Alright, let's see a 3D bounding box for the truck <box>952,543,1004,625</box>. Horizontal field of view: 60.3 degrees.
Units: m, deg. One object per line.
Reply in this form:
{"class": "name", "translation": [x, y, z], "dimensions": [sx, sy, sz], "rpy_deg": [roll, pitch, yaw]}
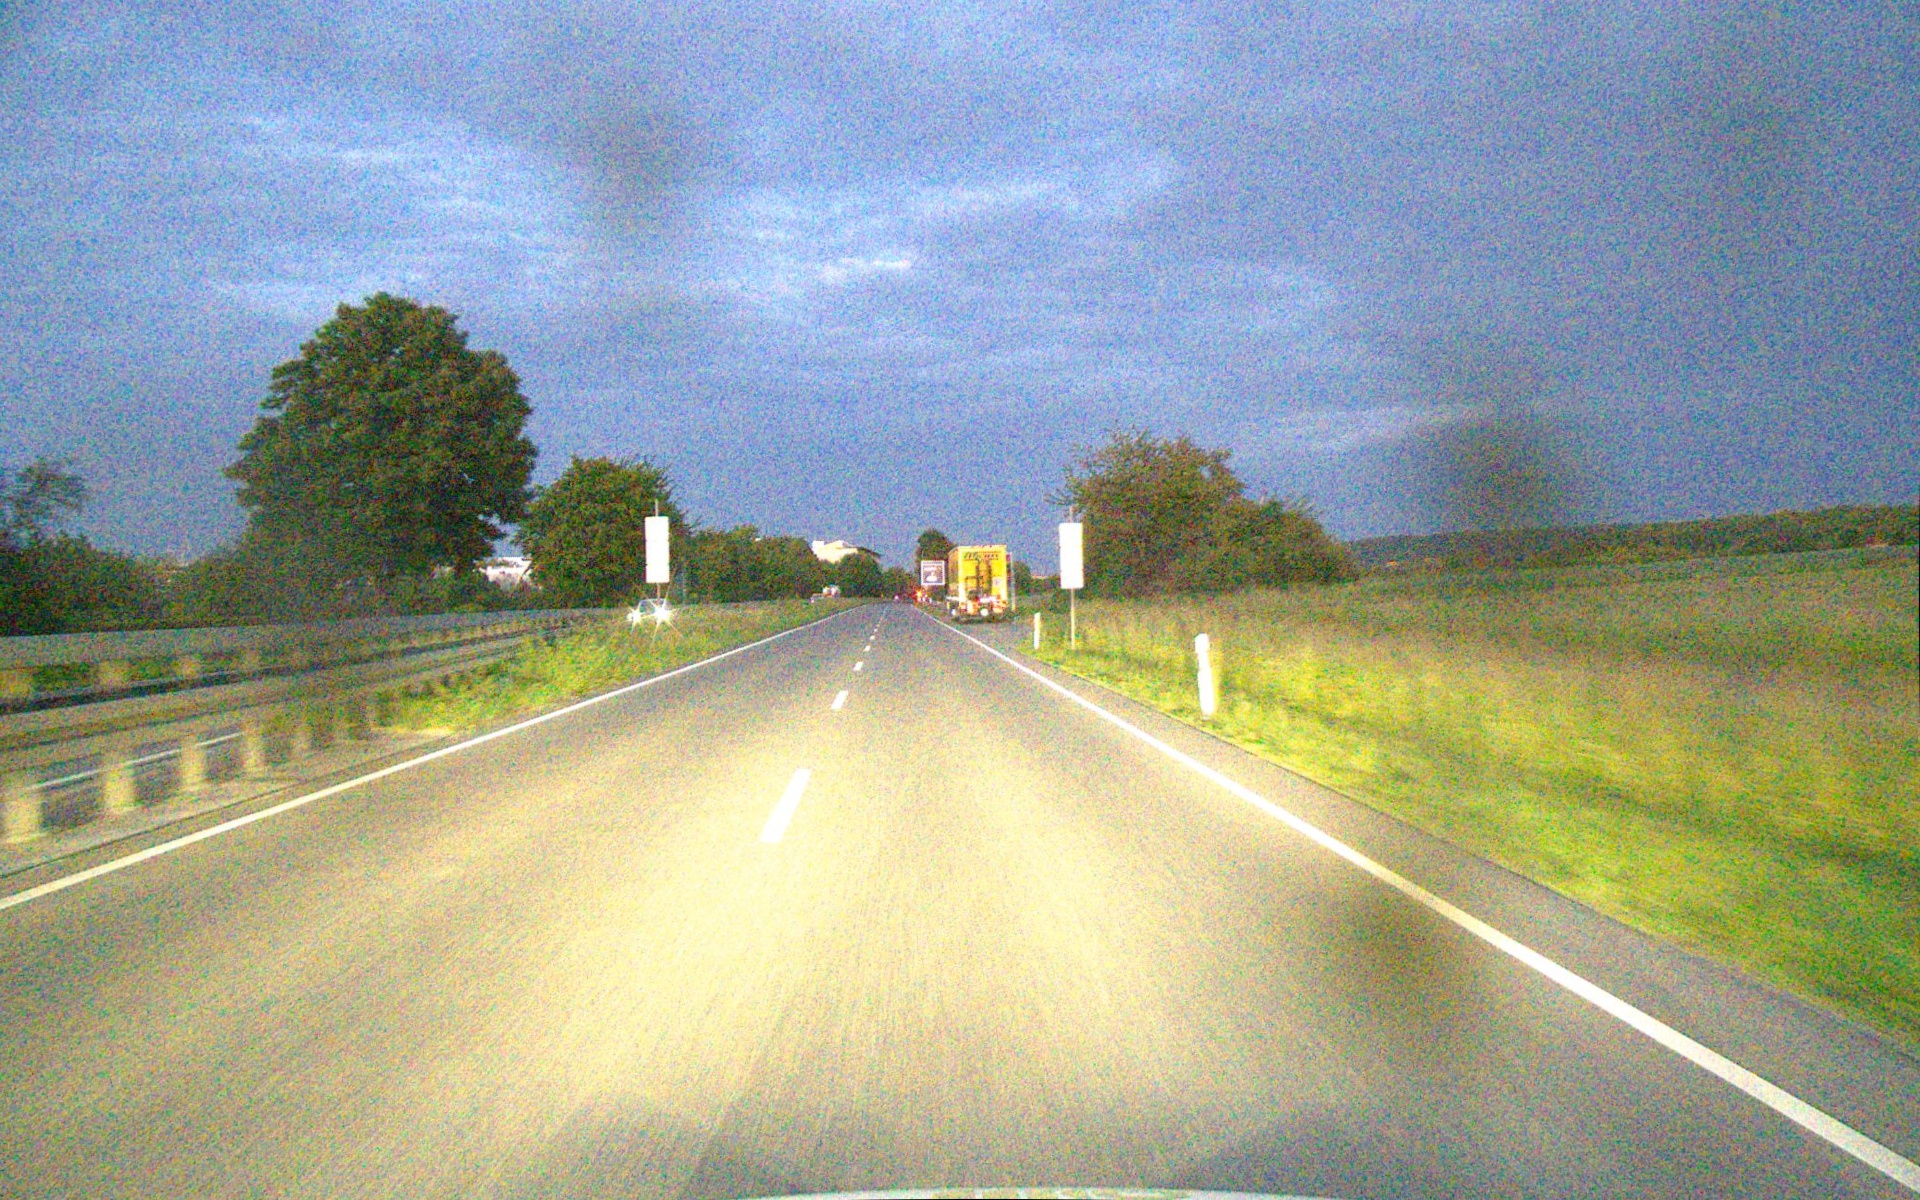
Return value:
{"class": "truck", "translation": [0.882, -0.852, 87.594], "dimensions": [2.527, 4.142, 6.128], "rpy_deg": [0, 1, -1]}

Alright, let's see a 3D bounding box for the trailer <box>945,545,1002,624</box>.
{"class": "trailer", "translation": [0.644, -0.859, 94.905], "dimensions": [2.569, 4.175, 12.931], "rpy_deg": [-1, 0, -2]}

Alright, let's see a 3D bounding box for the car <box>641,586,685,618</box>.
{"class": "car", "translation": [-14.728, 0.113, 82.118], "dimensions": [1.622, 1.531, 3.997], "rpy_deg": [1, 0, -3]}
